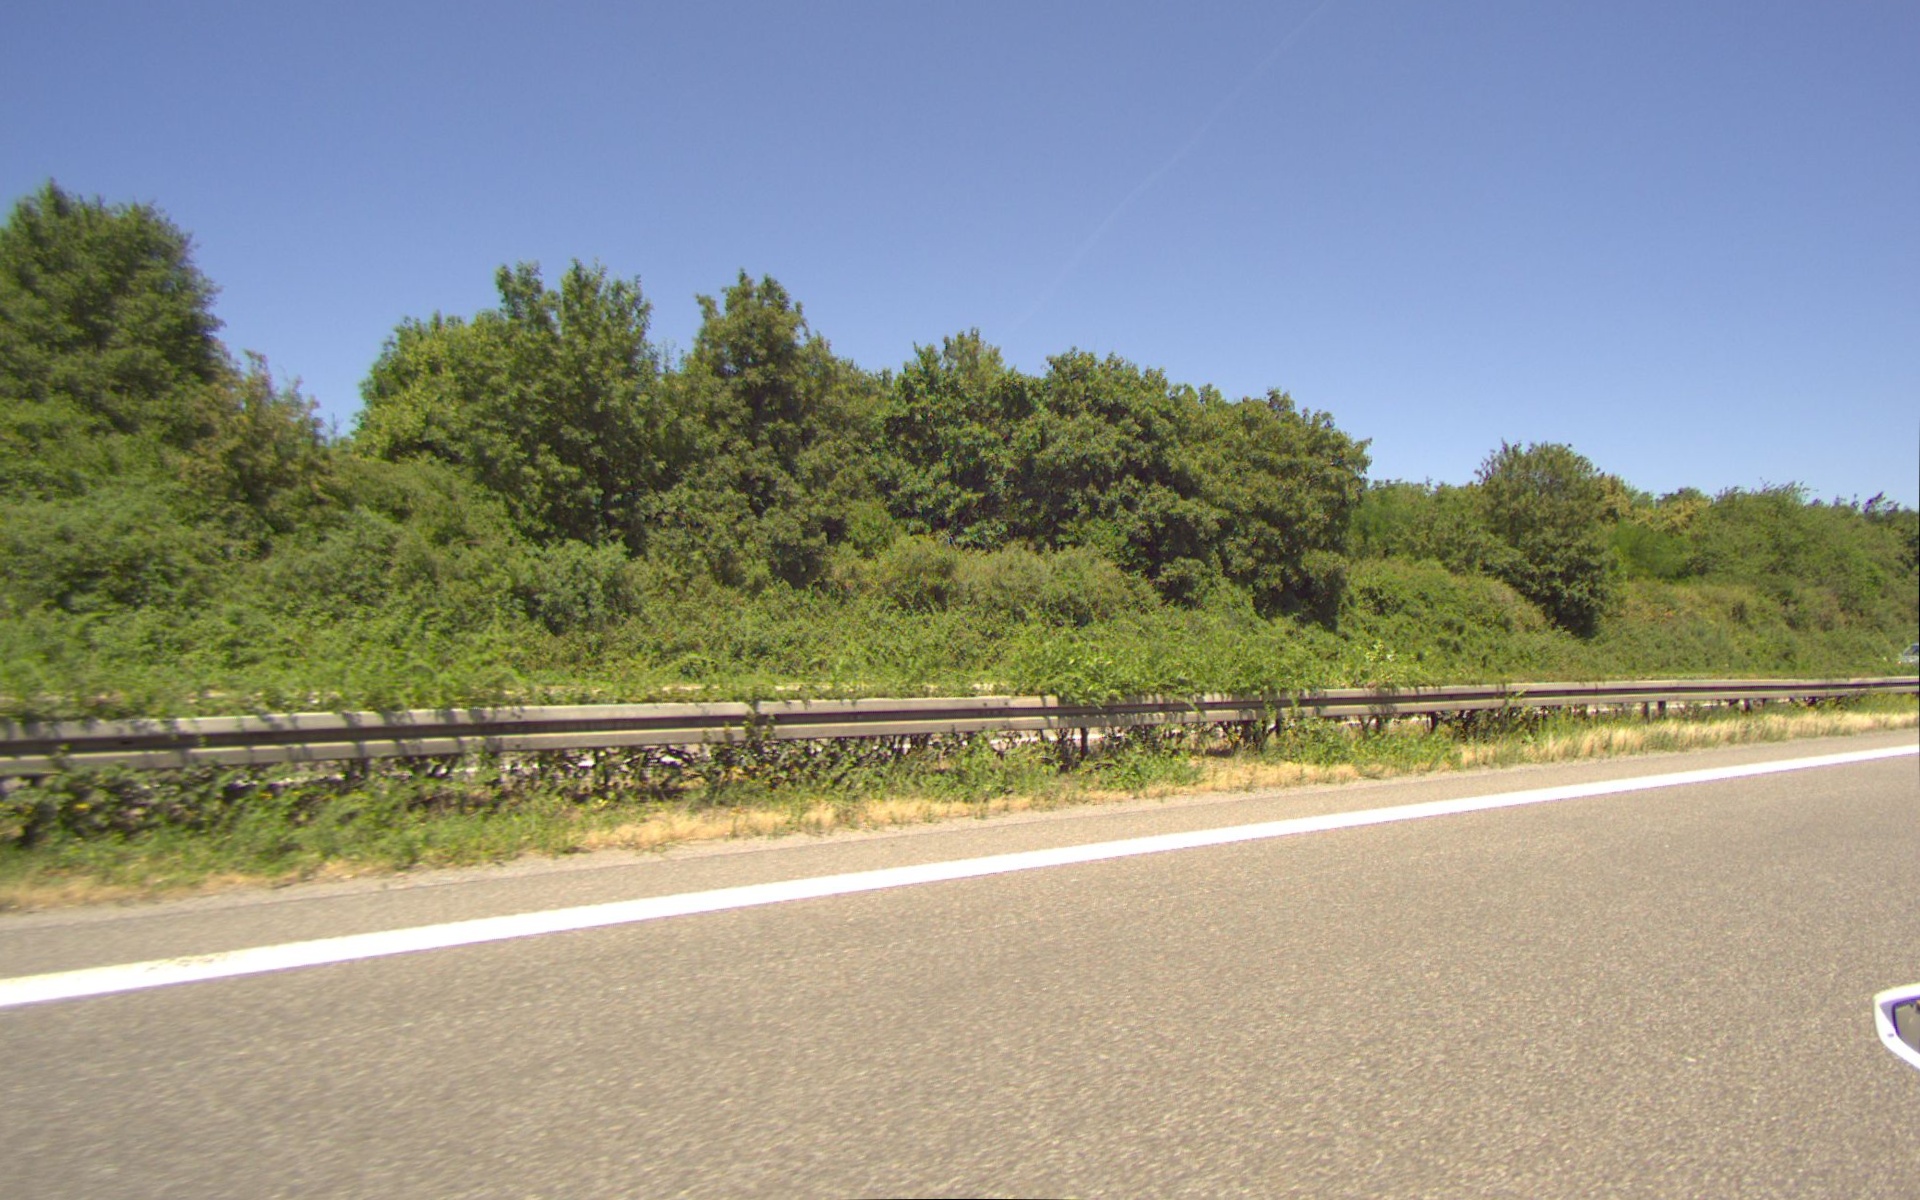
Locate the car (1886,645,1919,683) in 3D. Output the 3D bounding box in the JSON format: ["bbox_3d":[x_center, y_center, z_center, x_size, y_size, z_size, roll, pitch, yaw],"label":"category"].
[{"bbox_3d":[41.301,2.710,42.634,4.364,1.528,1.733,2,0,-30],"label":"car"}]
